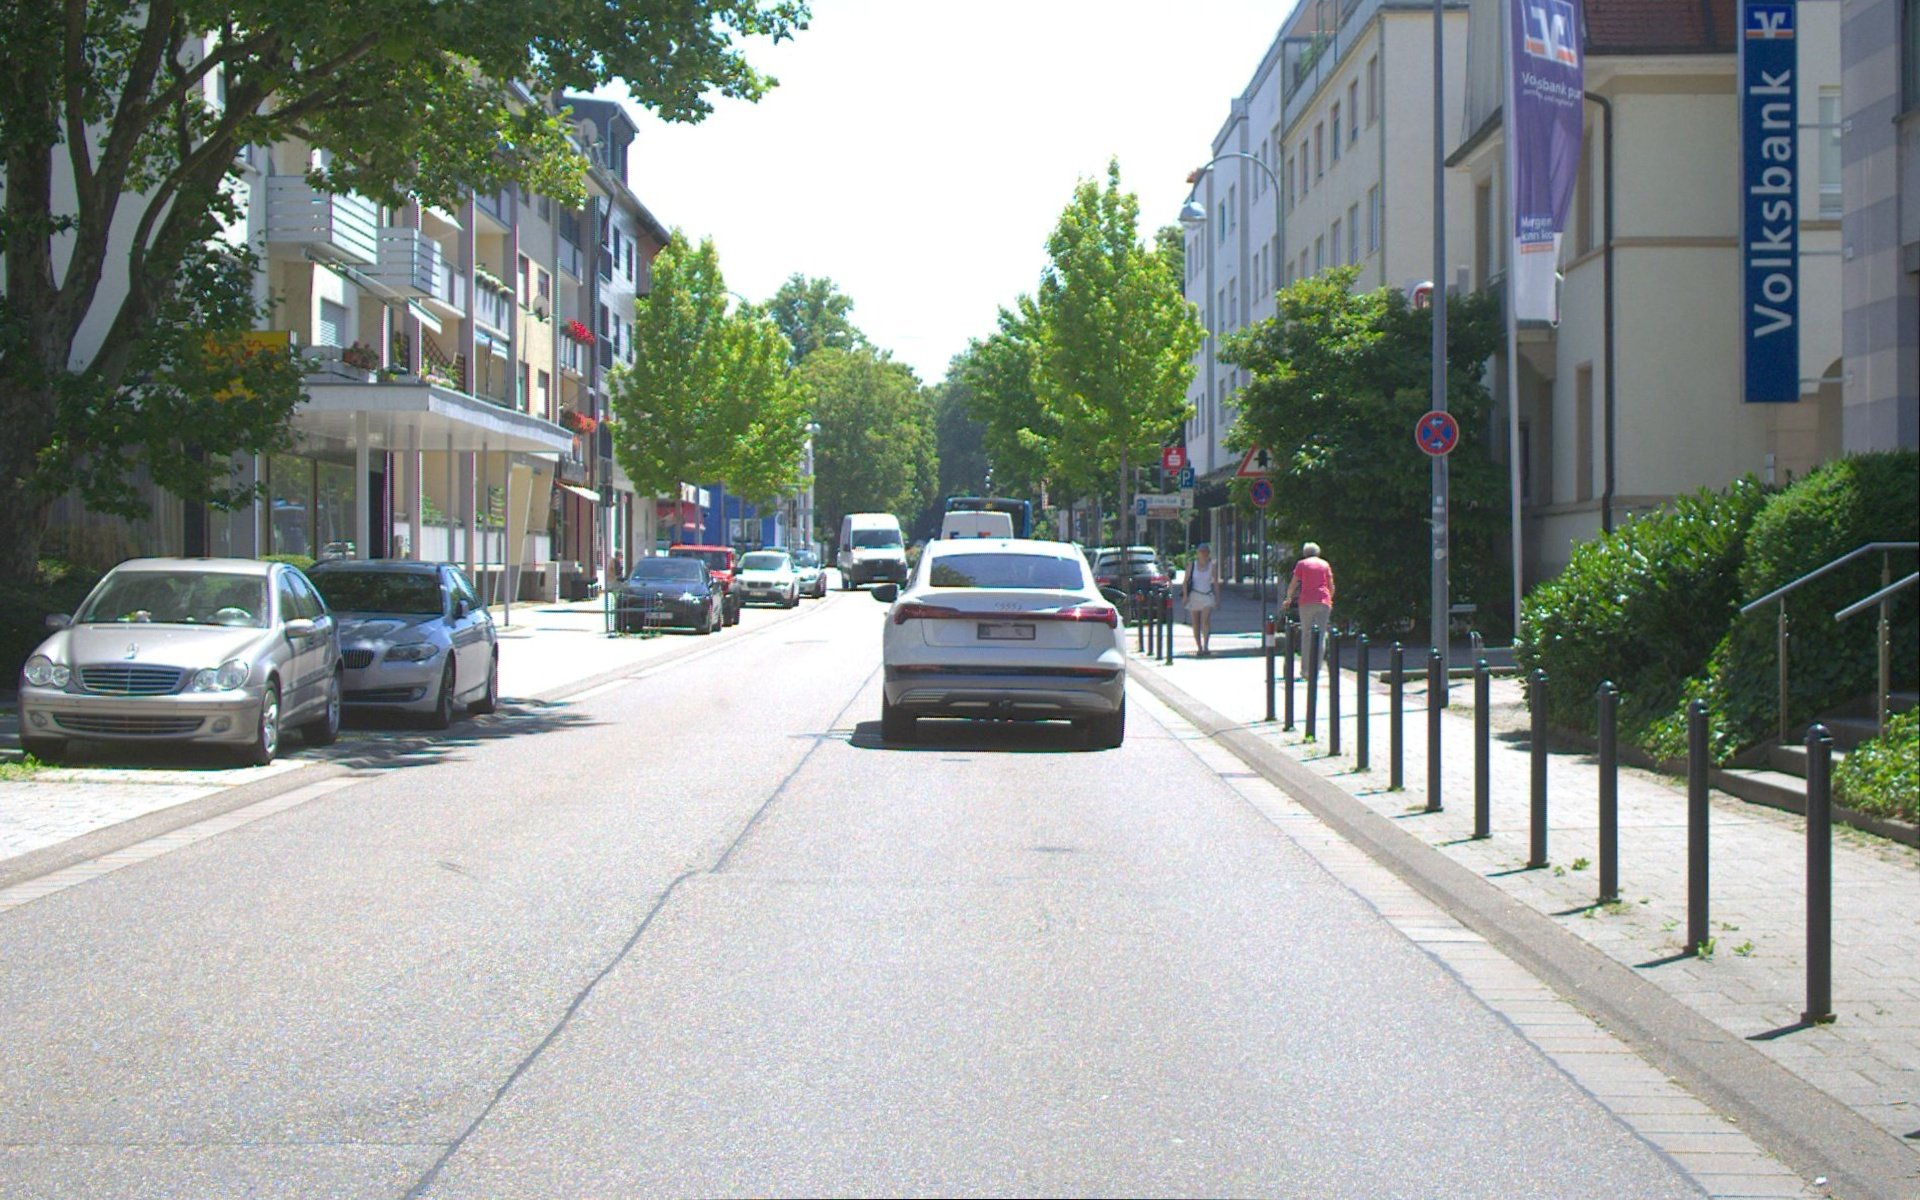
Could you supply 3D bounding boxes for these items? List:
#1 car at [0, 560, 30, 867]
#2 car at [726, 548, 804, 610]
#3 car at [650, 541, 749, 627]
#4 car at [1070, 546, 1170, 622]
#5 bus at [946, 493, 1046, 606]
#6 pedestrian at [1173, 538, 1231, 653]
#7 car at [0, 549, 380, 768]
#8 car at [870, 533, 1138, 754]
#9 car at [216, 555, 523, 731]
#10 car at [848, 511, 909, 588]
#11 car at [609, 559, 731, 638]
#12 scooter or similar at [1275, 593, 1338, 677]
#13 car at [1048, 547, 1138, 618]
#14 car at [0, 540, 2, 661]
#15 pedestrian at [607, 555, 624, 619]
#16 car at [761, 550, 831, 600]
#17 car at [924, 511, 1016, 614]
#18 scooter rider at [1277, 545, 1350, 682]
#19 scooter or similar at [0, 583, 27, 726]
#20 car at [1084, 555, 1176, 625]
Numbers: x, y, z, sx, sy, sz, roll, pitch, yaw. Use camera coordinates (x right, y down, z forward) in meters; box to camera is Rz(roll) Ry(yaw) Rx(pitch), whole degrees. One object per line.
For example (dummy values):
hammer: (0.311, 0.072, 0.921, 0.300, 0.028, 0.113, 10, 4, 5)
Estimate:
car: (-5.541, 0.546, 13.978, 1.981, 1.447, 5.357, 1, 1, 1)
car: (-5.448, -0.602, 96.458, 1.752, 1.612, 4.400, 2, 1, 1)
car: (-5.516, -0.360, 73.146, 1.752, 1.696, 4.101, 2, 1, 0)
car: (3.681, -0.403, 79.893, 1.896, 1.669, 4.691, -1, 1, -2)
bus: (1.140, -1.502, 104.039, 2.661, 3.210, 7.300, 2, 0, 3)
pedestrian: (3.502, -0.063, 49.838, 0.700, 1.621, 0.784, -3, 0, -1)
car: (-5.723, 0.362, 25.704, 1.981, 1.447, 4.868, 1, 1, -1)
car: (0.300, 0.304, 28.068, 1.993, 1.627, 4.000, 2, 1, -1)
car: (-5.312, 0.328, 31.595, 1.981, 1.447, 5.151, 1, 1, -1)
car: (-2.901, -1.786, 121.849, 2.036, 2.621, 7.108, -2, 1, -2)
car: (-5.579, -0.058, 66.674, 1.896, 1.412, 5.048, 2, 1, 0)
scooter or similar: (4.039, 0.402, 40.110, 0.663, 0.960, 0.754, 0, 1, 0)
car: (3.267, -0.459, 85.242, 1.855, 1.669, 4.537, -1, 1, -2)
car: (-13.539, -0.007, 43.334, 1.891, 1.481, 3.996, 0, 1, -30)
pedestrian: (-9.209, -0.348, 91.945, 0.394, 1.729, 0.446, 0, 0, -11)
car: (-5.101, -0.791, 107.320, 1.752, 1.448, 4.400, 2, 1, 2)
car: (0.270, -0.936, 86.648, 2.156, 2.433, 5.283, 2, 0, 0)
scooter rider: (4.054, 0.143, 39.451, 0.716, 1.543, 0.770, -1, 1, -2)
scooter or similar: (-7.749, 0.420, 26.716, 0.663, 1.094, 1.028, 2, 1, 2)
car: (3.617, -0.234, 73.753, 1.896, 1.433, 4.544, 0, 1, 2)
